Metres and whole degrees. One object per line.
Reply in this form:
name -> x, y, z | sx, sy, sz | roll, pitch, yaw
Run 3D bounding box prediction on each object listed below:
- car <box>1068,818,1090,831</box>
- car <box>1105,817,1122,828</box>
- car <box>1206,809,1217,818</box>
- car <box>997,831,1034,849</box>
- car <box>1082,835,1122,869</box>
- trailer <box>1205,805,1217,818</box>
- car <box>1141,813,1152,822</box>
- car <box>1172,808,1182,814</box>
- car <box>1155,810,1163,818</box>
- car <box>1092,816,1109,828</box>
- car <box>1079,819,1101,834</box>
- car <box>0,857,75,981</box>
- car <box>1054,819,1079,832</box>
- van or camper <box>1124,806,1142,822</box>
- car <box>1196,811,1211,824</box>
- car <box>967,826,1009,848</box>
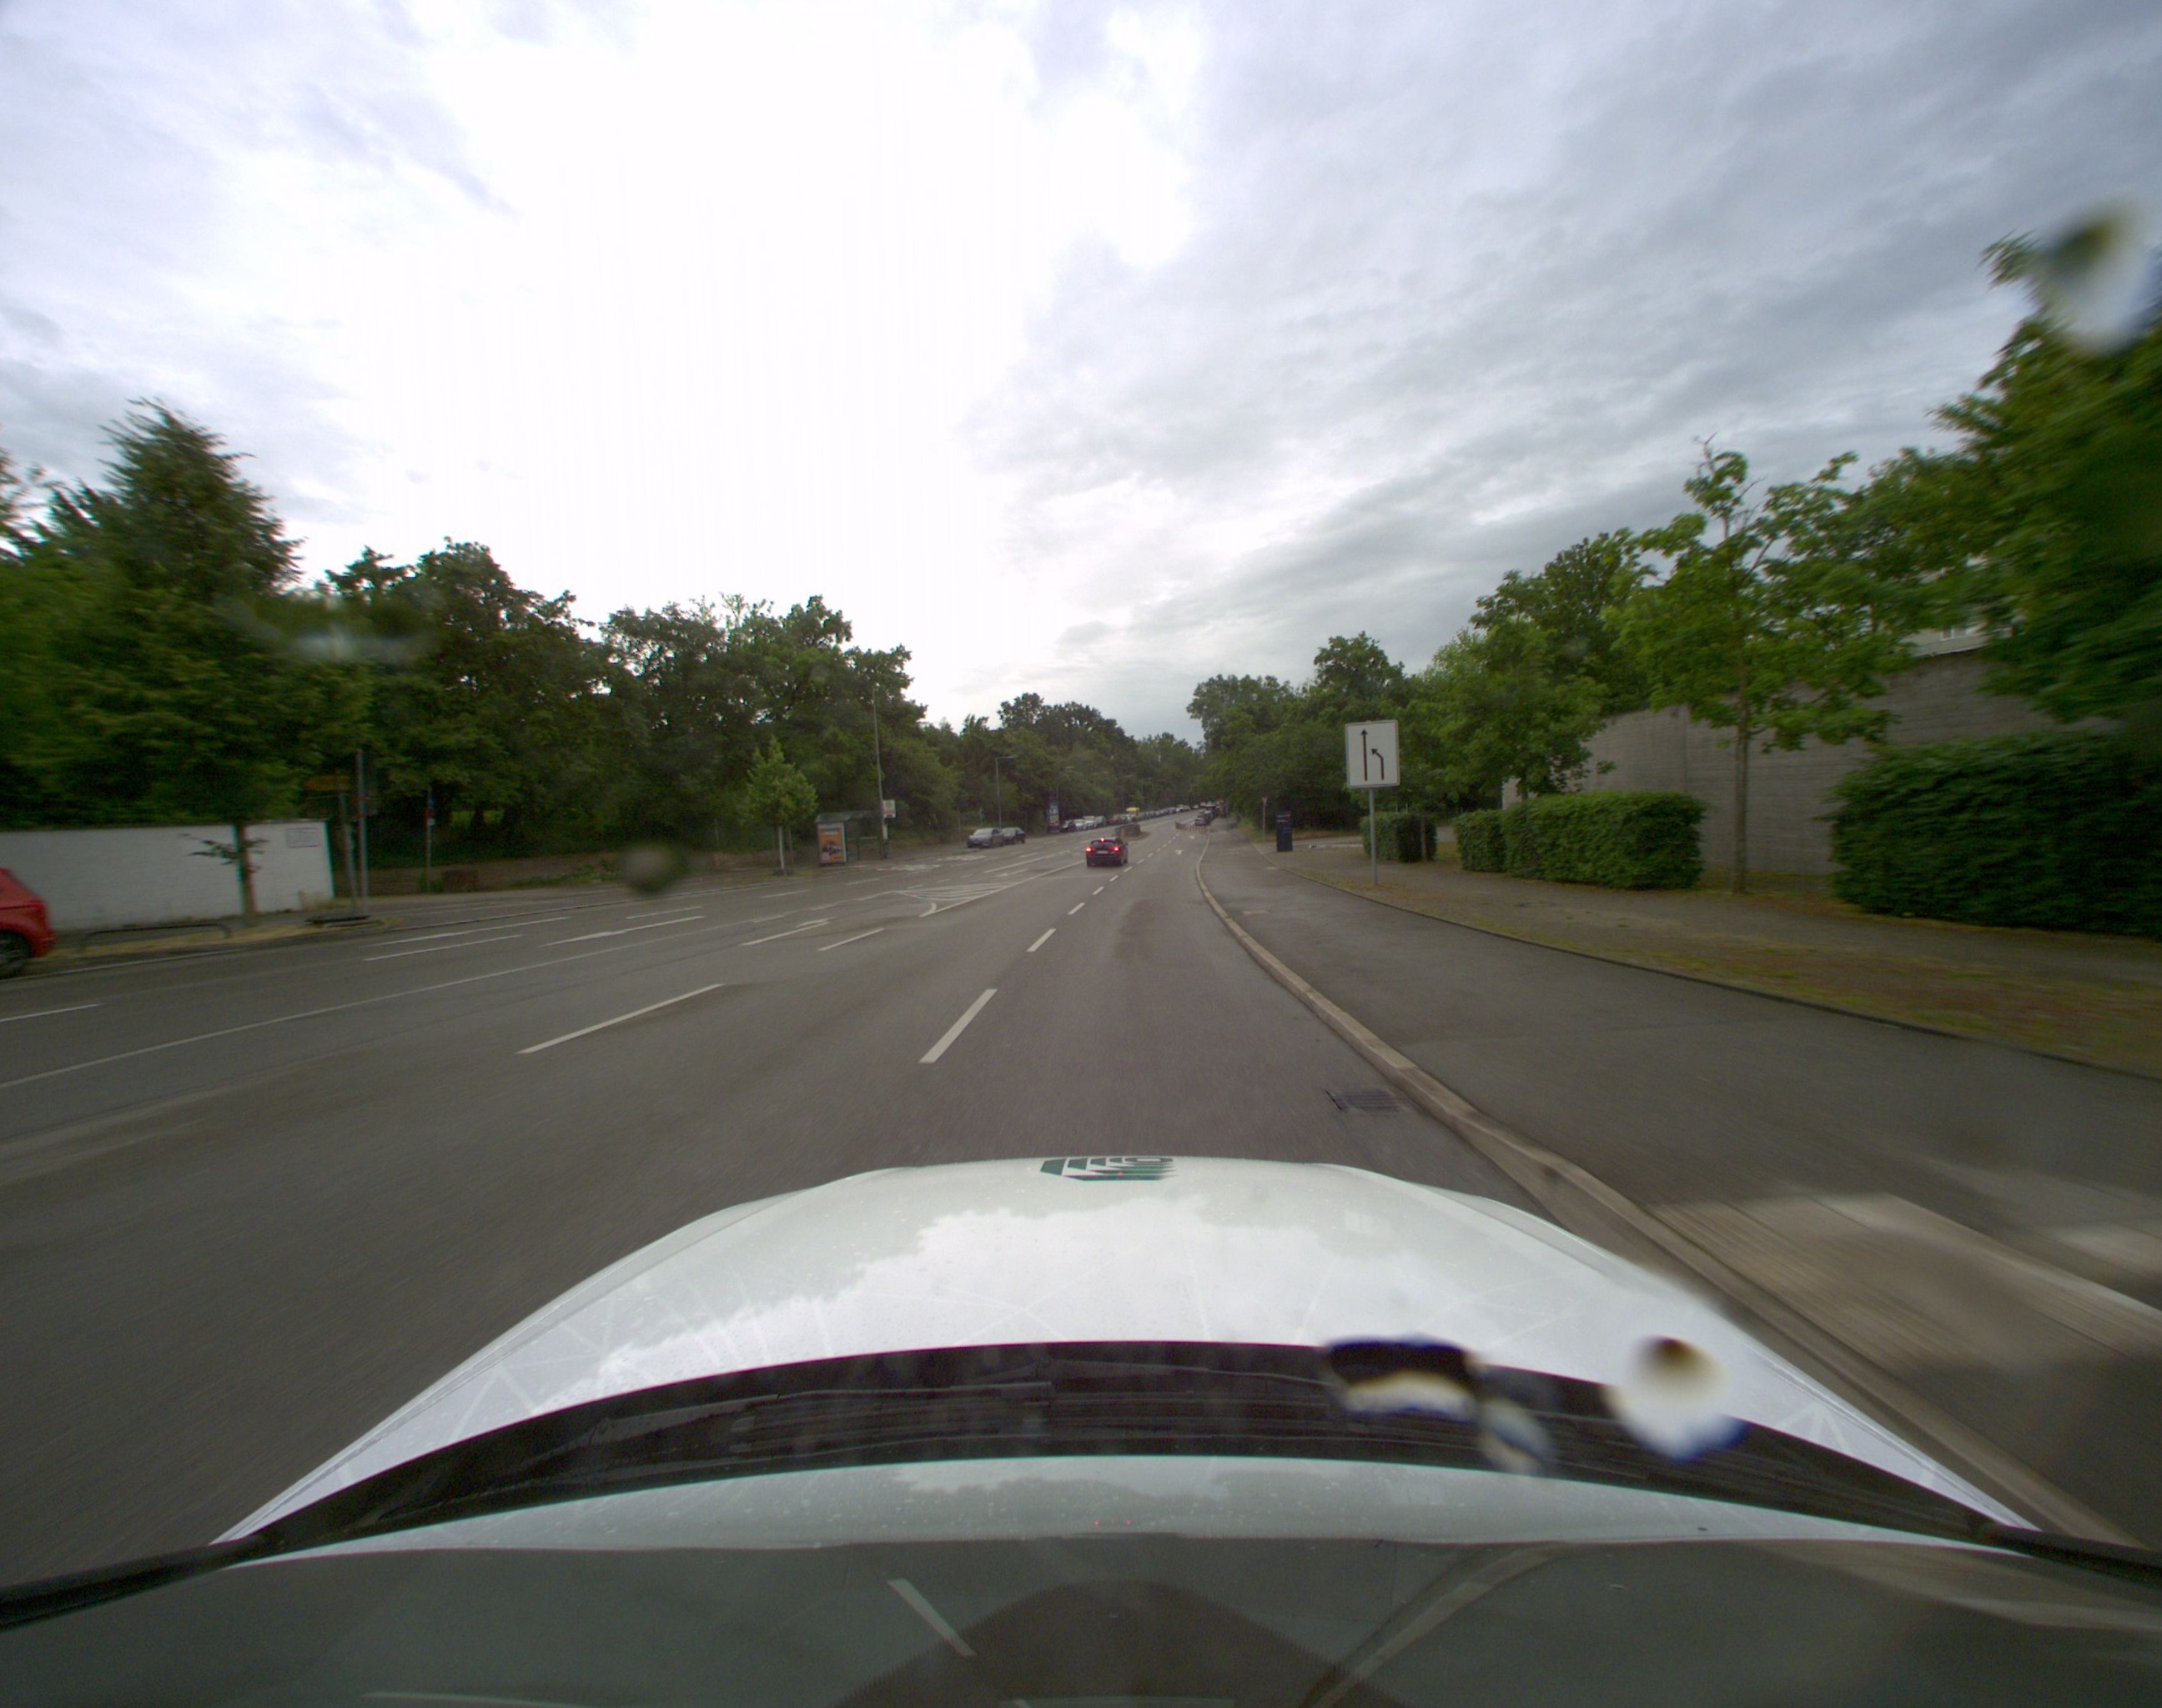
car -> -0.206, -3.864, 104.594 | 1.706, 1.459, 4.726 | -2, 3, 13
car -> 5.149, -4.992, 128.701 | 1.905, 1.616, 4.508 | -2, 3, 13
car -> 23.336, -7.211, 145.757 | 1.811, 1.485, 4.213 | -1, 3, 10
car -> -5.632, -1.235, 70.419 | 1.893, 1.414, 4.800 | -1, 3, 12
car -> 1.118, -0.139, 41.048 | 1.873, 1.465, 4.005 | 0, 4, 3
trailer -> 24.376, -7.981, 152.529 | 1.893, 2.246, 4.786 | -1, 4, 12
car -> 13.013, -7.247, 161.705 | 1.591, 1.509, 3.993 | -2, 4, 14
car -> 24.333, -10.972, 207.277 | 1.979, 1.488, 4.486 | -1, 3, 13
car -> 17.058, -8.779, 178.582 | 1.451, 1.570, 2.995 | -2, 3, 12
car -> 2.845, -4.604, 117.471 | 1.720, 1.648, 4.585 | -1, 3, 10
car -> 1.249, -3.782, 110.560 | 1.980, 1.765, 4.979 | -2, 3, 12
car -> -14.993, 0.917, 9.238 | 1.657, 1.586, 4.223 | -3, 1, 4
car -> -1.710, -3.481, 98.721 | 1.736, 1.444, 4.607 | -1, 3, 15
van or camper -> 9.333, -7.144, 145.900 | 2.128, 2.626, 5.706 | -2, 3, 14
car -> 15.668, -4.738, 104.554 | 1.811, 1.614, 4.263 | -1, 3, 8
car -> -7.269, -1.395, 64.289 | 1.829, 1.589, 4.946 | -1, 3, 12
